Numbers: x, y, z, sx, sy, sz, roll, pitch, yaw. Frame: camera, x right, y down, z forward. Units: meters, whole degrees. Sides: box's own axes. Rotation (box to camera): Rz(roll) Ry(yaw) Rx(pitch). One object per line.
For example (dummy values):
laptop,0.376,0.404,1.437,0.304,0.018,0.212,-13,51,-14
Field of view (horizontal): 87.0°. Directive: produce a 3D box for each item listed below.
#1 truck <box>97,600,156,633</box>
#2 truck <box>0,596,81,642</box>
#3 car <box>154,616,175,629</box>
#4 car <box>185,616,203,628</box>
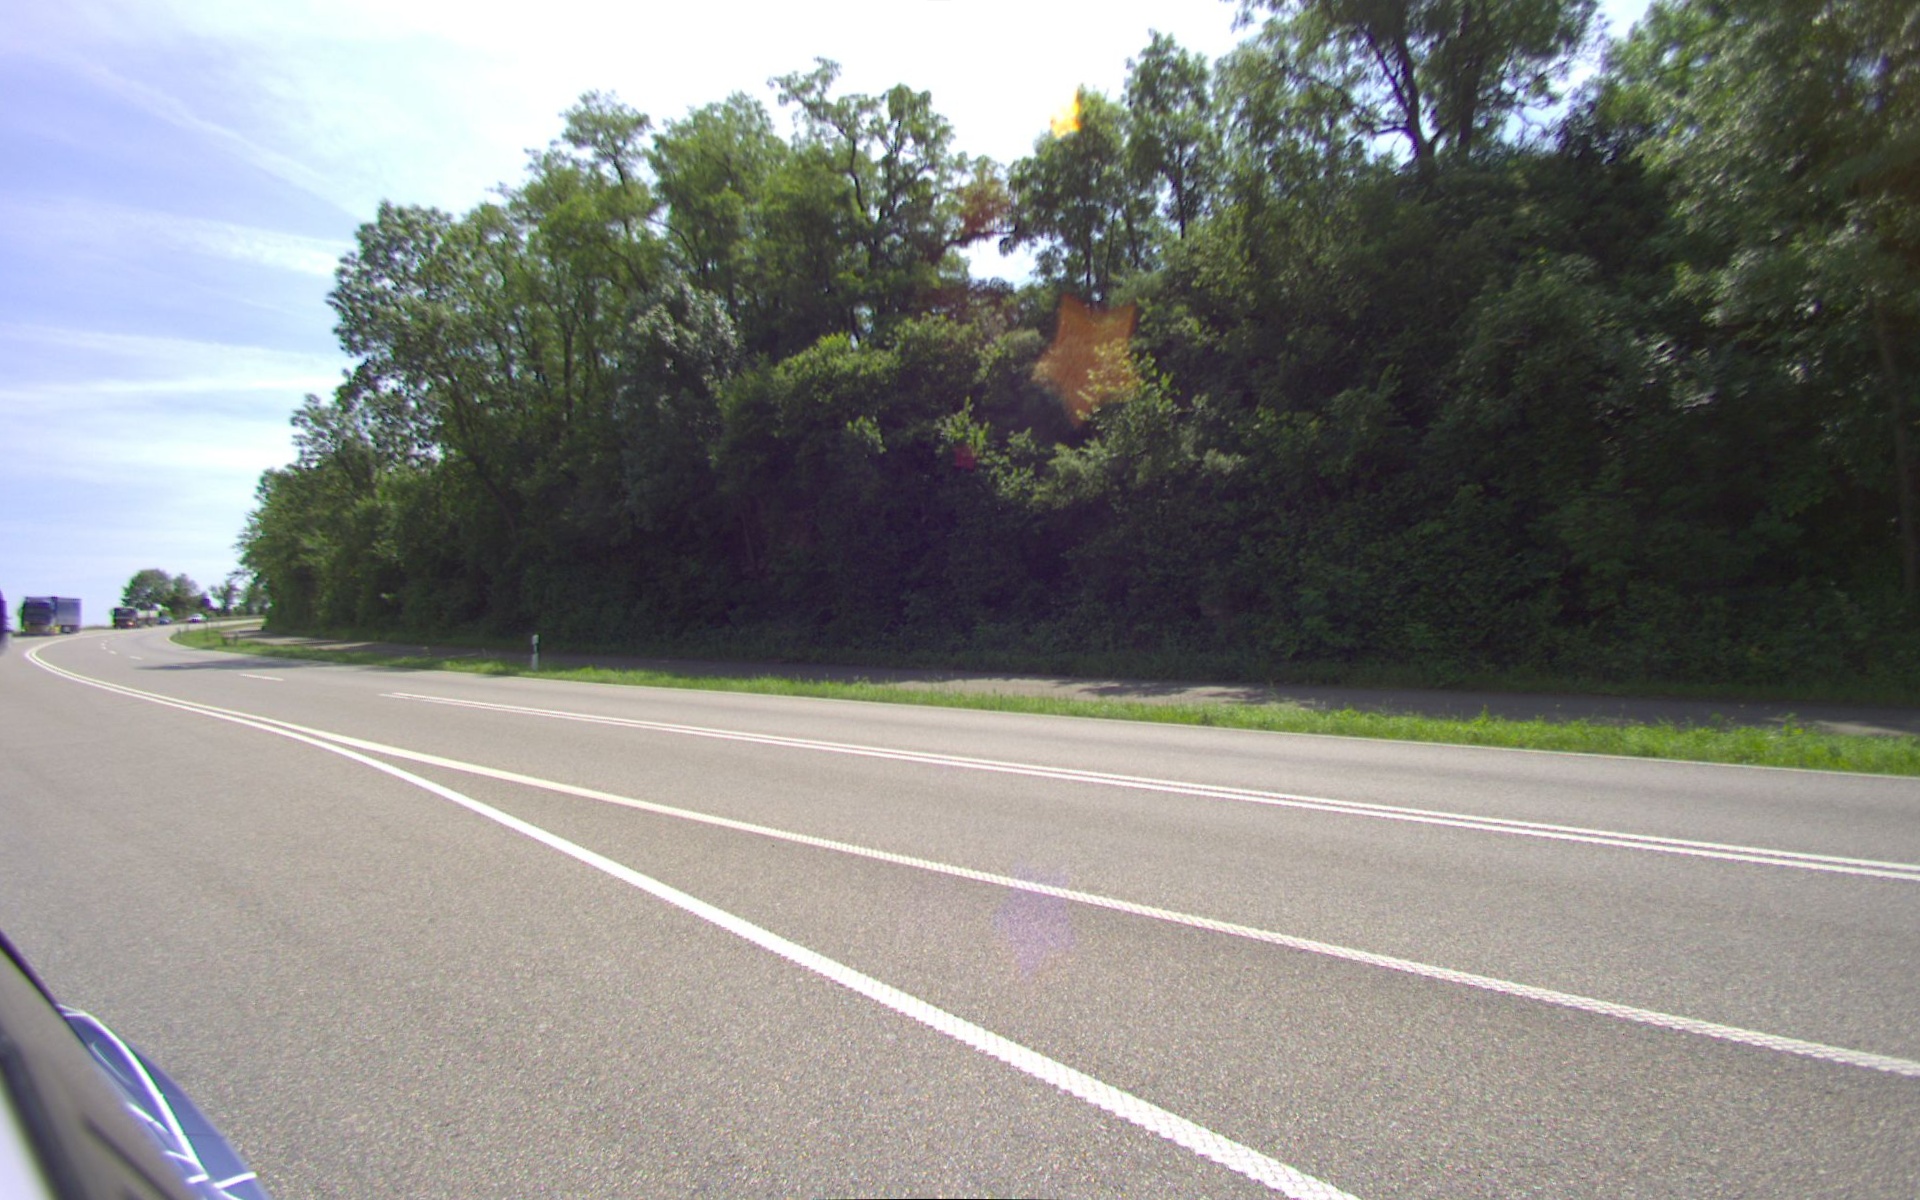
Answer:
truck,-121.909,2.464,148.327,3.921,4.493,14.385,-1,-1,-28
truck,-97.382,1.973,107.218,4.327,4.493,14.753,-1,-1,-33
car,-131.295,3.694,167.085,1.886,2.029,4.189,0,0,-25
car,-138.216,3.958,182.686,1.826,2.029,3.901,0,0,-25
